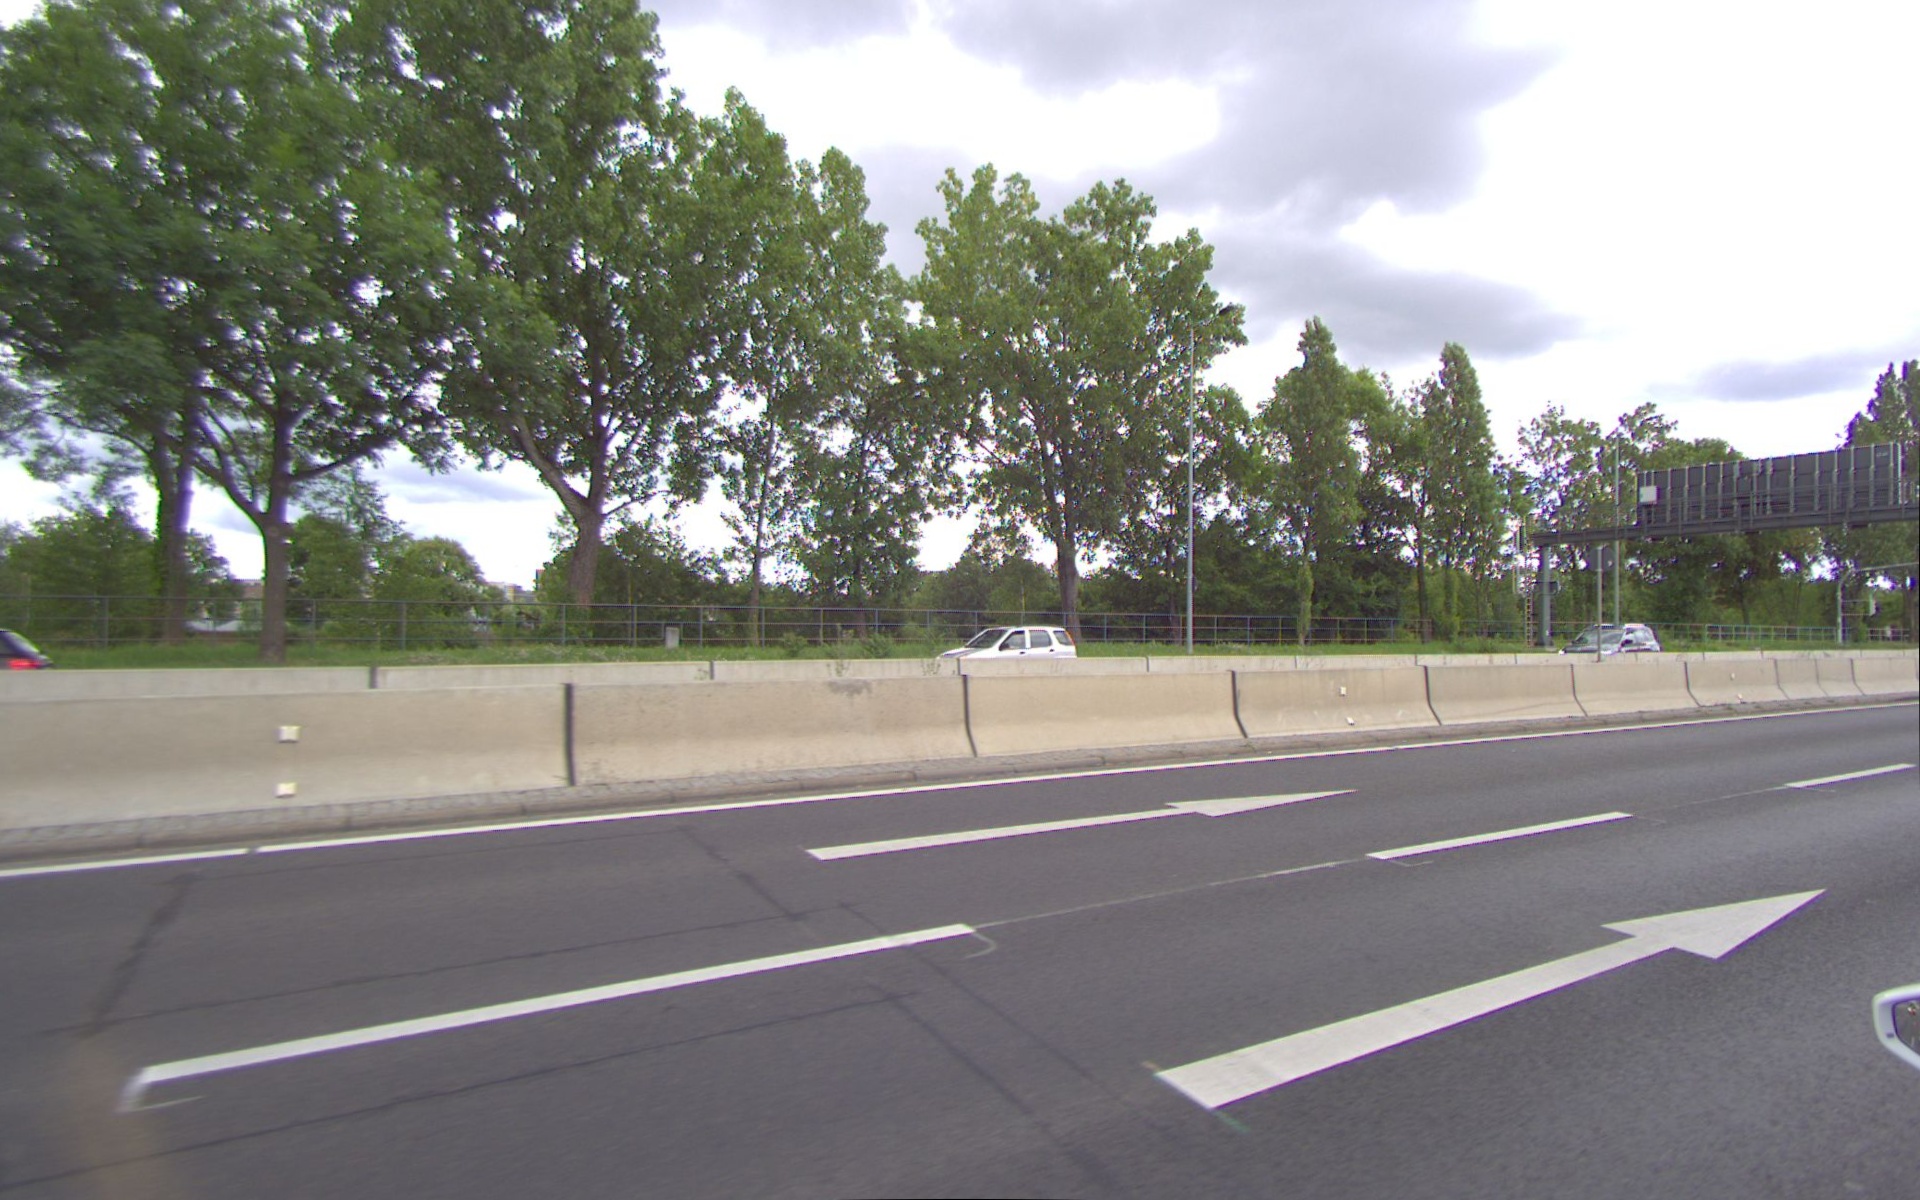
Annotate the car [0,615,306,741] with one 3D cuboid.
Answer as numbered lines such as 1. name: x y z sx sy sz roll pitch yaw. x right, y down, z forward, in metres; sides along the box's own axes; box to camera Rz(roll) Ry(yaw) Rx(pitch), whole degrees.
1. car: -13.208 1.161 16.118 4.417 1.762 1.984 1 1 -31

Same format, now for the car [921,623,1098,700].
1. car: 1.257 1.472 25.144 4.075 1.705 1.868 1 1 -31

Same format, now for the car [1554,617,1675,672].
1. car: 22.425 1.484 34.391 4.078 1.705 1.868 1 1 -31

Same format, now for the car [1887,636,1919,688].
1. car: 41.300 2.592 42.357 4.627 2.041 1.983 1 1 -31

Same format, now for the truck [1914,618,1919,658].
1. truck: 52.904 2.024 53.215 6.238 2.041 2.190 1 1 -35

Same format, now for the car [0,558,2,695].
1. car: -12.643 0.297 9.511 4.830 1.580 1.983 1 1 -32
